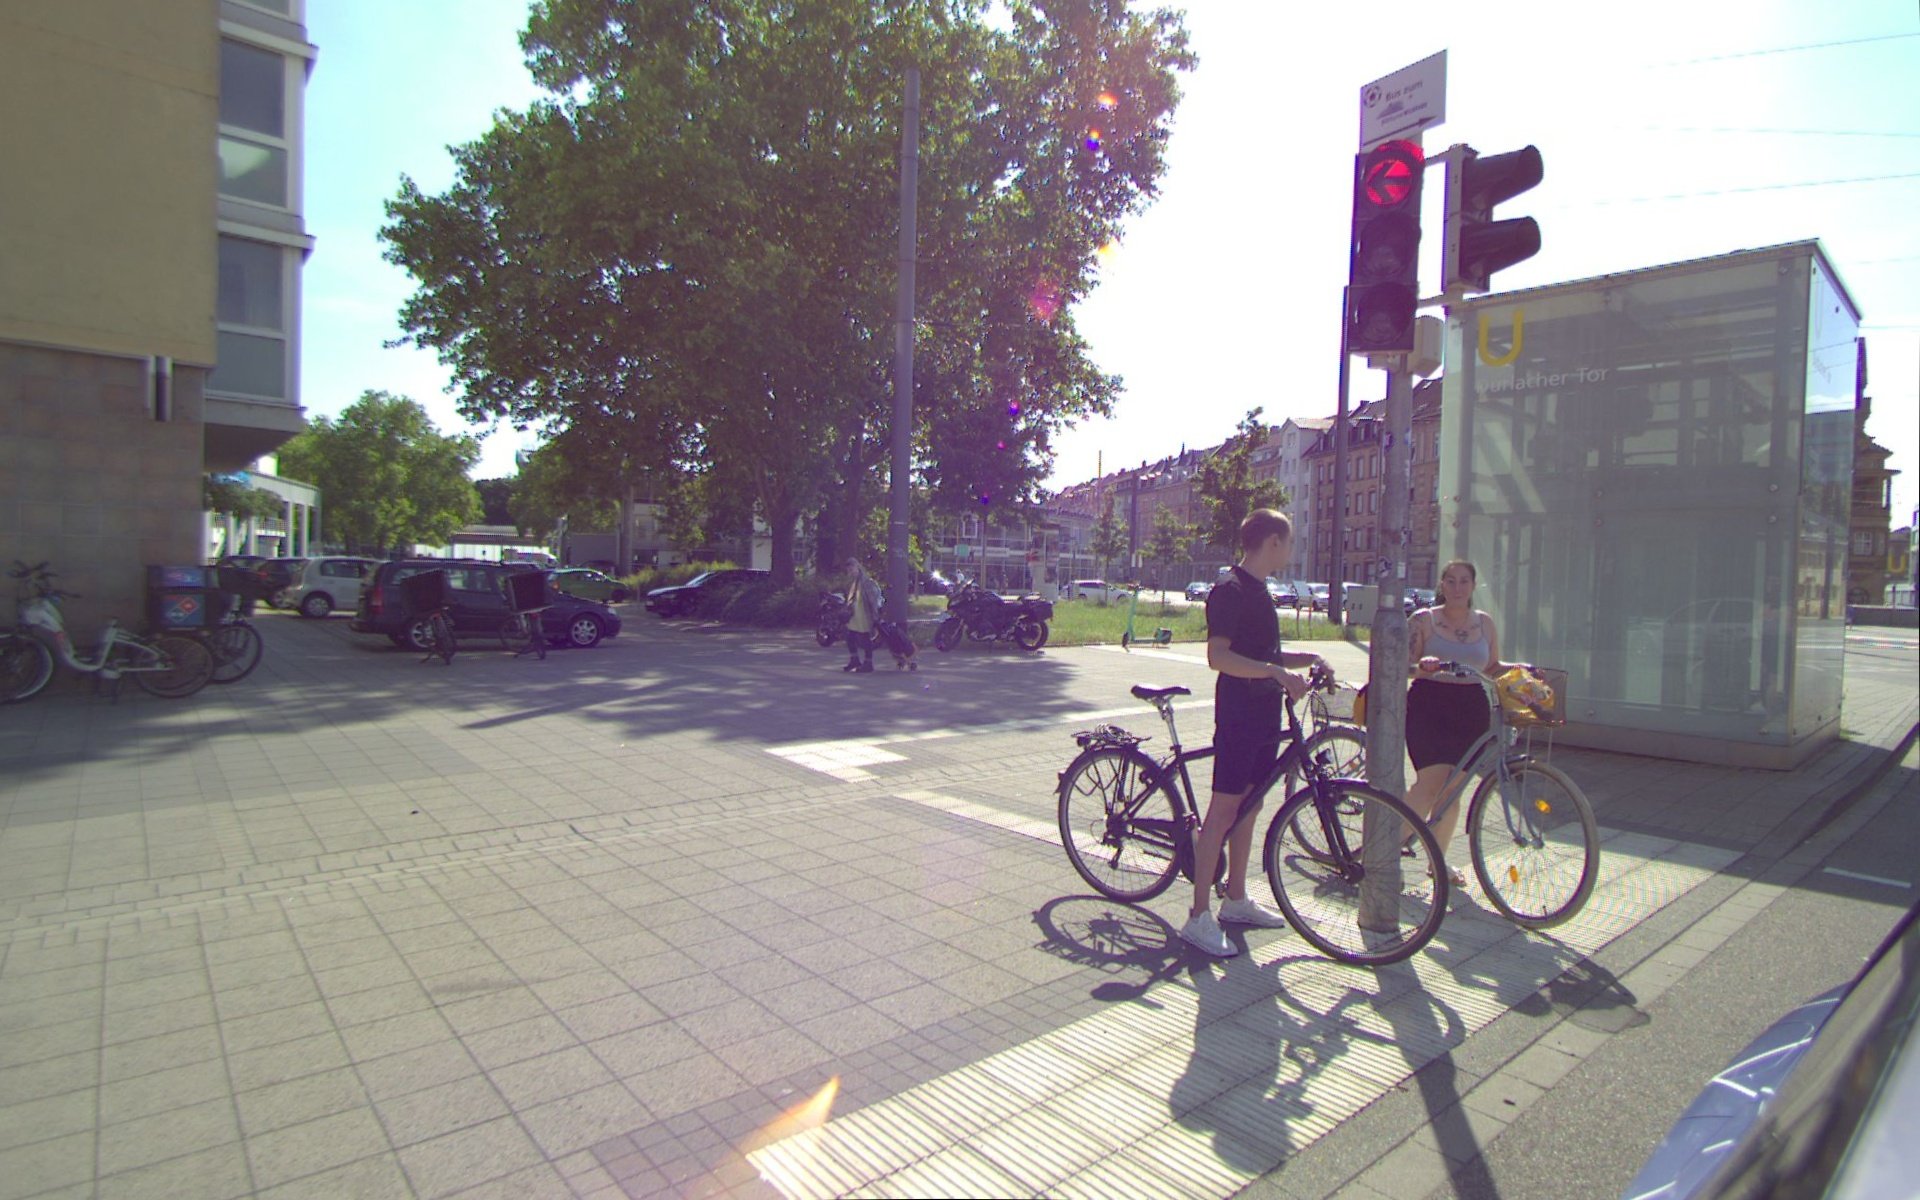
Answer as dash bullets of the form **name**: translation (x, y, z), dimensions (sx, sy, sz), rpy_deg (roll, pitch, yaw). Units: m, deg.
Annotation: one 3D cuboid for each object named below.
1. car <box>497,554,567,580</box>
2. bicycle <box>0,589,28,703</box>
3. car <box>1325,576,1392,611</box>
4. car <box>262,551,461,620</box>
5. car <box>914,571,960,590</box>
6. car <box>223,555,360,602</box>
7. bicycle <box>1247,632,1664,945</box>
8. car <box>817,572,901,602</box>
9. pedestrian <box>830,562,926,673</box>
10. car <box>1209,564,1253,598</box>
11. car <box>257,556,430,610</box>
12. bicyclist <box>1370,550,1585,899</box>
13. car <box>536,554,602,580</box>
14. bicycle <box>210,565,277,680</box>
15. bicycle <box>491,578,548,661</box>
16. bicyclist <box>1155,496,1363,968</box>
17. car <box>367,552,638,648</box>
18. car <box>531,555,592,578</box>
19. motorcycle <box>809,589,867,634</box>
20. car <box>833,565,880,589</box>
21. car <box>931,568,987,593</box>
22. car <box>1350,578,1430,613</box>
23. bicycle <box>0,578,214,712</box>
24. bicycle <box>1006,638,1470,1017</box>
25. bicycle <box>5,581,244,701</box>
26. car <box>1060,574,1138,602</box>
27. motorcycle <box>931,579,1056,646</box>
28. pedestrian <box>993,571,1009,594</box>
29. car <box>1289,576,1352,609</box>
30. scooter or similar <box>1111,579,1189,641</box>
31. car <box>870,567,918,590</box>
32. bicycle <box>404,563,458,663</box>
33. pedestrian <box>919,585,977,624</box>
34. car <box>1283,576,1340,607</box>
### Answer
- **car**: translation (-26.808, -2.047, 63.426), dimensions (3.916, 1.388, 2.004), rpy_deg (3, 0, -24)
- **bicycle**: translation (-9.234, 0.404, 8.707), dimensions (1.723, 0.977, 0.584), rpy_deg (0, 2, -35)
- **car**: translation (23.313, -0.410, 59.392), dimensions (1.862, 1.941, 4.206), rpy_deg (1, 0, -7)
- **car**: translation (-14.695, -0.340, 24.945), dimensions (3.928, 1.458, 1.889), rpy_deg (3, 0, -40)
- **car**: translation (-1.646, -1.421, 72.196), dimensions (1.798, 1.210, 4.008), rpy_deg (4, 0, -24)
- **car**: translation (-22.759, -0.733, 34.507), dimensions (3.668, 1.357, 1.742), rpy_deg (3, 0, -40)
- **bicycle**: translation (2.311, 0.783, 5.010), dimensions (0.739, 1.144, 1.801), rpy_deg (0, 1, -23)
- **car**: translation (-5.902, -0.779, 59.093), dimensions (4.502, 1.454, 1.977), rpy_deg (3, 0, -19)
- **pedestrian**: translation (-1.121, 0.216, 13.813), dimensions (1.098, 1.421, 0.656), rpy_deg (0, 3, -41)
- **car**: translation (22.365, -1.519, 83.850), dimensions (2.175, 2.608, 5.870), rpy_deg (3, 0, 3)
- **car**: translation (-17.368, -0.463, 28.601), dimensions (3.928, 1.286, 1.742), rpy_deg (3, 0, -40)
- **bicyclist**: translation (2.557, 0.561, 5.033), dimensions (0.718, 1.592, 0.614), rpy_deg (0, 1, -23)
- **car**: translation (-25.928, -2.175, 67.115), dimensions (3.917, 1.571, 2.004), rpy_deg (1, 2, -25)
- **bicycle**: translation (-8.322, 0.213, 11.724), dimensions (0.531, 1.200, 1.889), rpy_deg (1, 2, -38)
- **bicycle**: translation (-6.476, 0.253, 14.830), dimensions (0.572, 1.099, 1.759), rpy_deg (1, 3, -30)
- **bicyclist**: translation (1.232, 0.482, 4.177), dimensions (0.615, 1.756, 0.575), rpy_deg (1, 1, 44)
- **car**: translation (-7.880, 0.022, 17.636), dimensions (4.020, 1.489, 1.657), rpy_deg (1, -1, -40)
- **car**: translation (-28.402, -2.372, 72.204), dimensions (3.917, 1.526, 2.004), rpy_deg (1, 2, -25)
- **motorcycle**: translation (-2.530, 0.219, 21.254), dimensions (0.630, 0.852, 2.032), rpy_deg (2, 2, 10)
- **car**: translation (-7.204, -1.628, 70.277), dimensions (1.958, 1.504, 4.008), rpy_deg (3, 0, -25)
- **car**: translation (-0.115, -1.441, 74.675), dimensions (3.989, 1.638, 1.795), rpy_deg (3, 0, 45)
- **car**: translation (21.259, -0.241, 50.192), dimensions (1.862, 1.608, 4.005), rpy_deg (1, 0, -6)
- **bicycle**: translation (-7.835, 0.386, 9.118), dimensions (1.721, 1.098, 0.585), rpy_deg (1, 4, -28)
- **bicycle**: translation (1.052, 0.785, 4.180), dimensions (1.791, 1.144, 0.575), rpy_deg (2, 1, 44)
- **bicycle**: translation (-7.986, 0.364, 9.779), dimensions (1.723, 1.055, 0.584), rpy_deg (0, 2, -34)
- **car**: translation (8.621, -0.746, 63.044), dimensions (4.505, 1.454, 1.447), rpy_deg (3, 0, -9)
- **motorcycle**: translation (0.573, 0.213, 17.256), dimensions (1.995, 1.075, 0.642), rpy_deg (1, 1, -15)
- **pedestrian**: translation (2.965, -1.246, 73.636), dimensions (0.937, 1.600, 0.535), rpy_deg (3, 0, -26)
- **car**: translation (20.546, -0.416, 57.862), dimensions (1.623, 1.761, 4.206), rpy_deg (1, 0, -7)
- **scooter or similar**: translation (3.614, 0.185, 19.255), dimensions (1.335, 1.133, 0.518), rpy_deg (1, 1, -13)
- **car**: translation (-4.678, -1.542, 71.325), dimensions (1.958, 1.504, 4.008), rpy_deg (3, 0, -25)
- **bicycle**: translation (-7.201, 0.138, 13.748), dimensions (0.572, 1.234, 1.759), rpy_deg (1, 2, -30)
- **pedestrian**: translation (-0.290, 0.102, 25.063), dimensions (1.156, 0.903, 0.821), rpy_deg (0, 2, -42)
- **car**: translation (23.004, -0.539, 66.431), dimensions (1.862, 1.941, 4.206), rpy_deg (1, 0, -7)
